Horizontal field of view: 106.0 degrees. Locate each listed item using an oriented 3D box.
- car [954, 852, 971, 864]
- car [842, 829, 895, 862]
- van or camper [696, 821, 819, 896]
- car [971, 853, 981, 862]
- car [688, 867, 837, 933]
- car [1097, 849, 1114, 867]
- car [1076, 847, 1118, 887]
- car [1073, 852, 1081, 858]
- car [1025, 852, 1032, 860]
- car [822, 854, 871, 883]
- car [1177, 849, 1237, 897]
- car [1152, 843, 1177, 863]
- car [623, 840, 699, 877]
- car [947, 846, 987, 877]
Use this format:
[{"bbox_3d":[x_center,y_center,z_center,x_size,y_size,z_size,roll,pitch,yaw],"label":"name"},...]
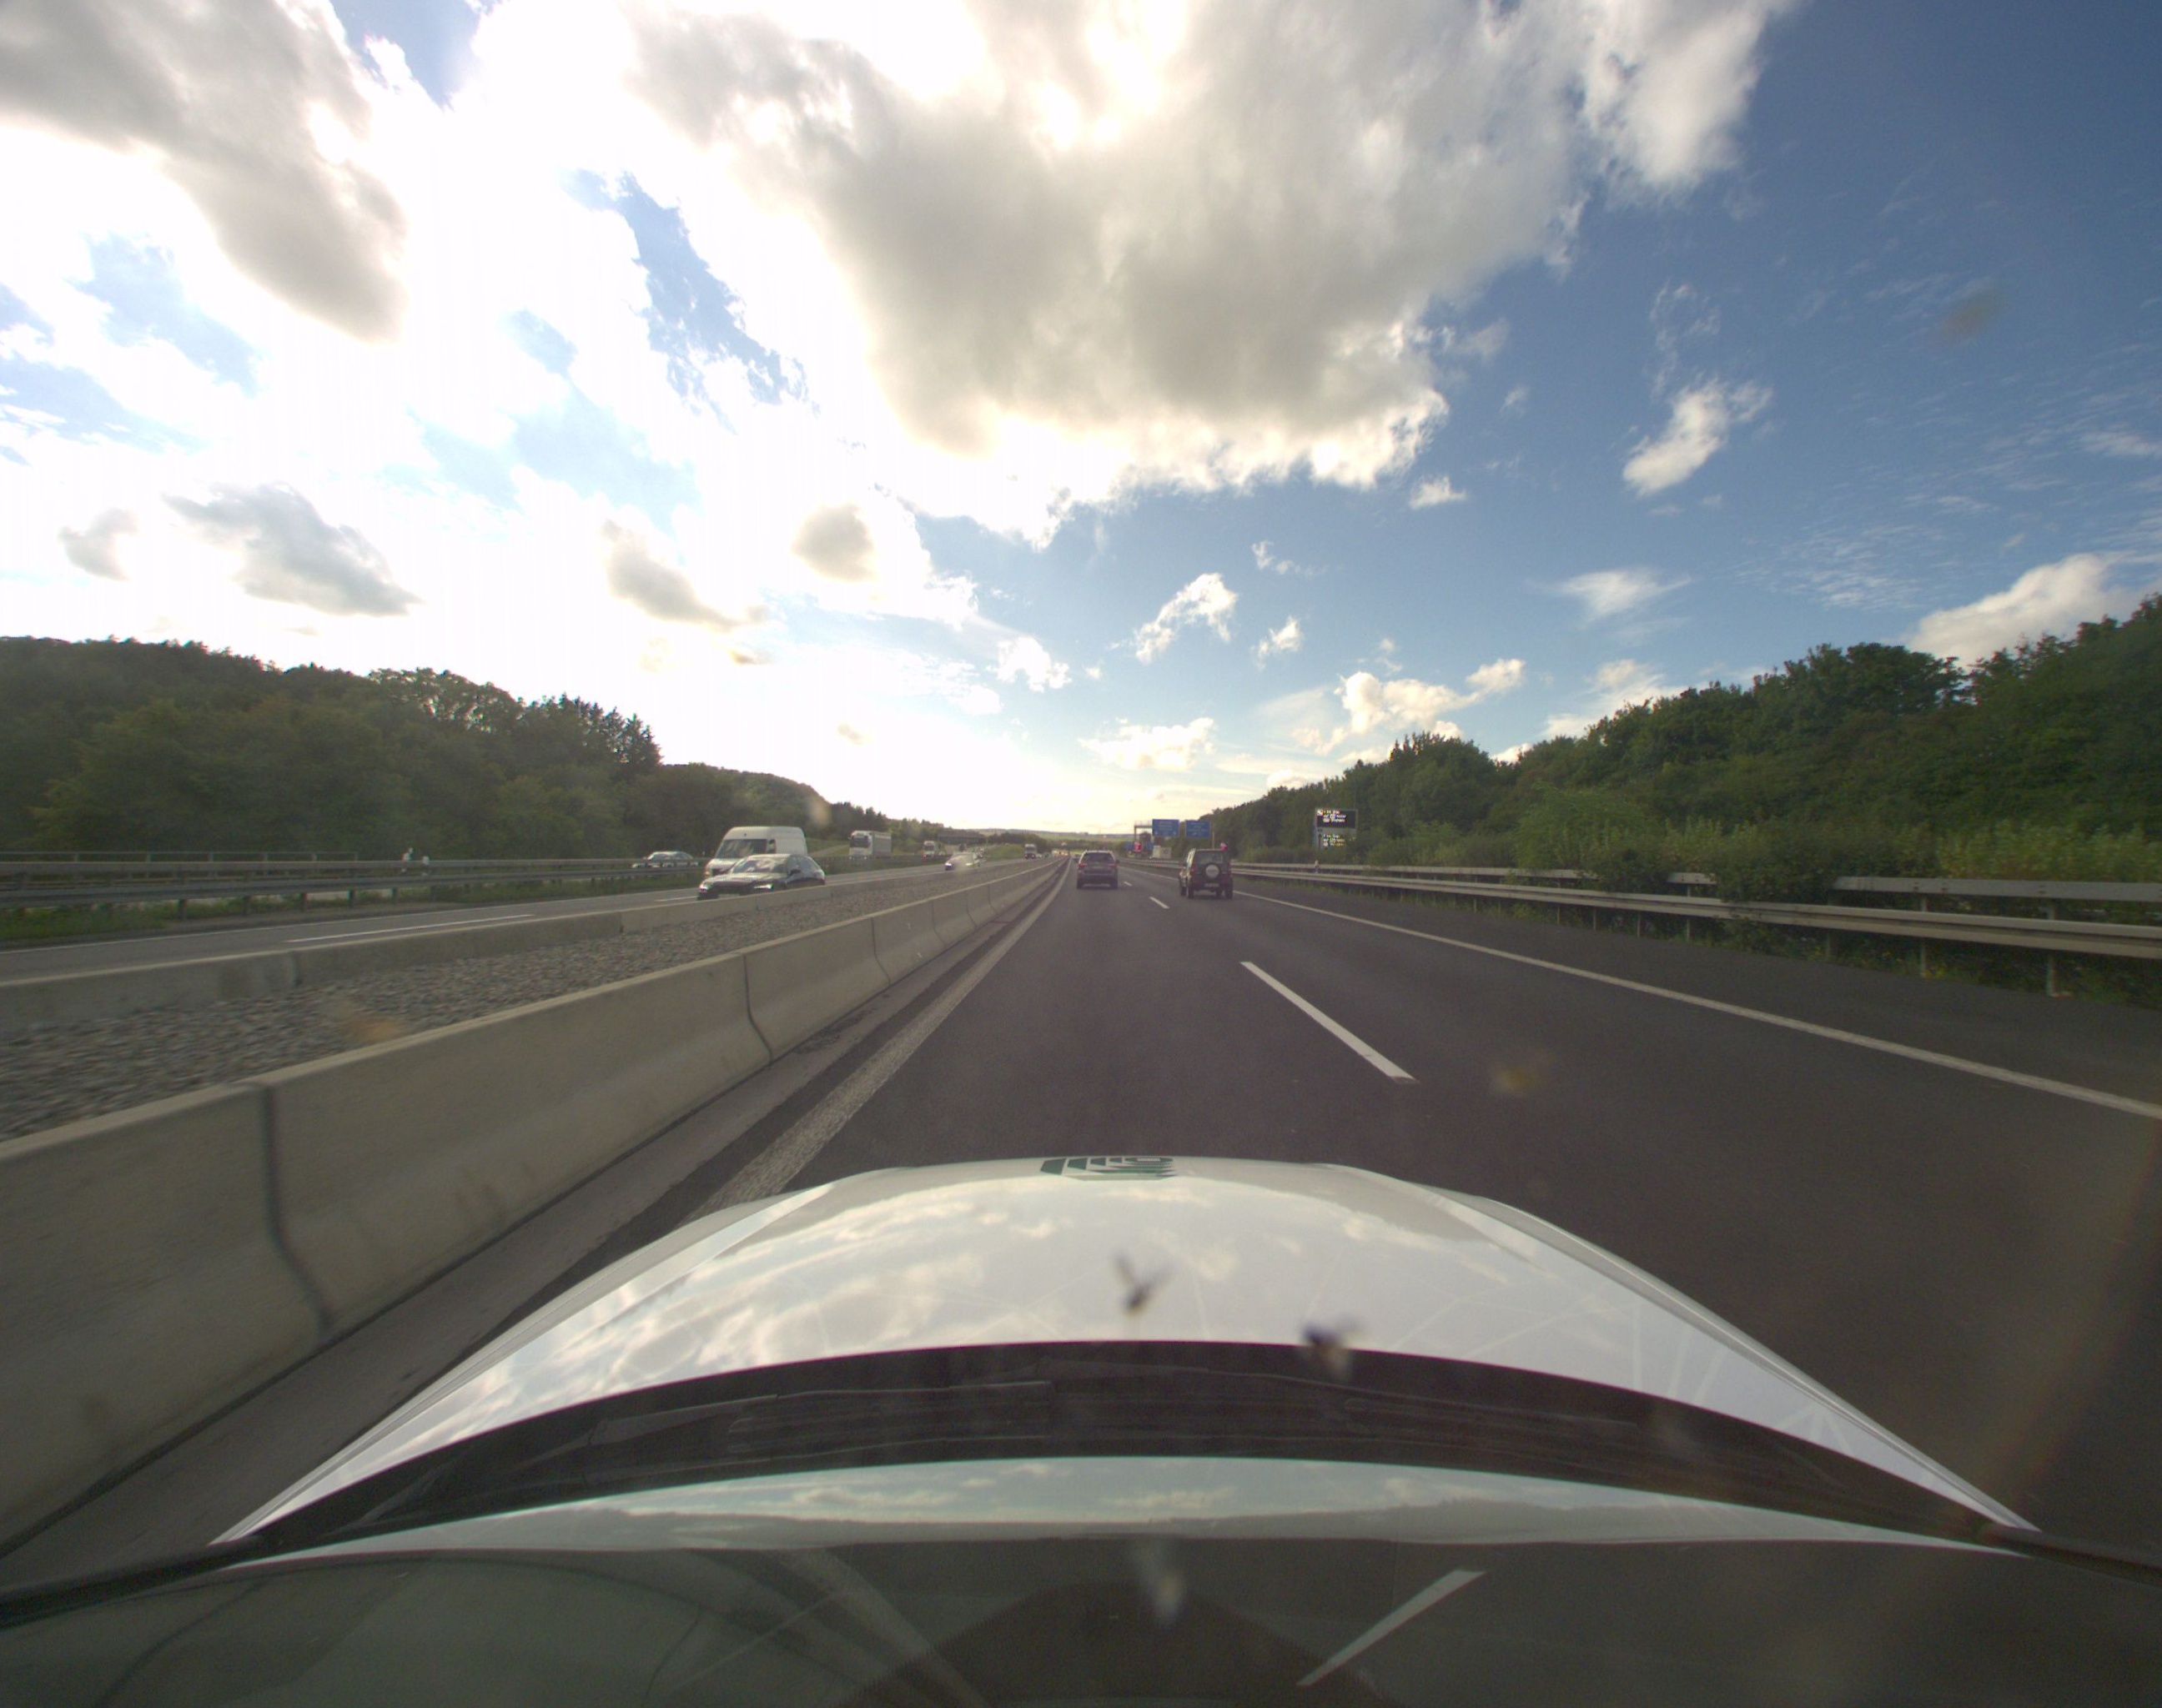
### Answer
[{"bbox_3d":[-17.198,0.578,118.375,1.989,1.790,4.268,0,0,-3],"label":"car"},{"bbox_3d":[-28.114,-1.062,108.734,3.808,4.080,14.814,0,0,-3],"label":"car"},{"bbox_3d":[-12.376,0.156,31.784,1.979,2.624,6.864,0,0,1],"label":"van or camper"},{"bbox_3d":[-20.123,0.699,156.214,1.604,1.789,4.266,0,0,-4],"label":"car"},{"bbox_3d":[-8.045,1.100,21.141,1.918,1.435,4.778,0,0,1],"label":"car"},{"bbox_3d":[3.043,0.530,99.382,2.023,2.151,4.002,0,0,2],"label":"car"},{"bbox_3d":[0.807,0.616,38.257,1.810,1.736,5.189,0,-1,2],"label":"car"},{"bbox_3d":[-1.081,0.264,220.409,1.989,1.684,3.995,0,-2,-3],"label":"car"},{"bbox_3d":[-14.302,0.579,221.099,1.990,2.030,4.266,0,0,-4],"label":"car"},{"bbox_3d":[-14.071,0.832,49.111,1.719,1.700,4.153,0,0,1],"label":"car"},{"bbox_3d":[4.480,0.638,29.519,1.581,1.597,4.096,0,0,1],"label":"car"},{"bbox_3d":[19.279,-0.158,188.786,4.711,4.266,11.404,0,-2,1],"label":"car"},{"bbox_3d":[-23.551,0.245,45.829,1.986,2.013,4.273,0,0,1],"label":"car"},{"bbox_3d":[-7.503,0.471,53.888,1.986,2.013,4.273,0,0,1],"label":"car"}]
